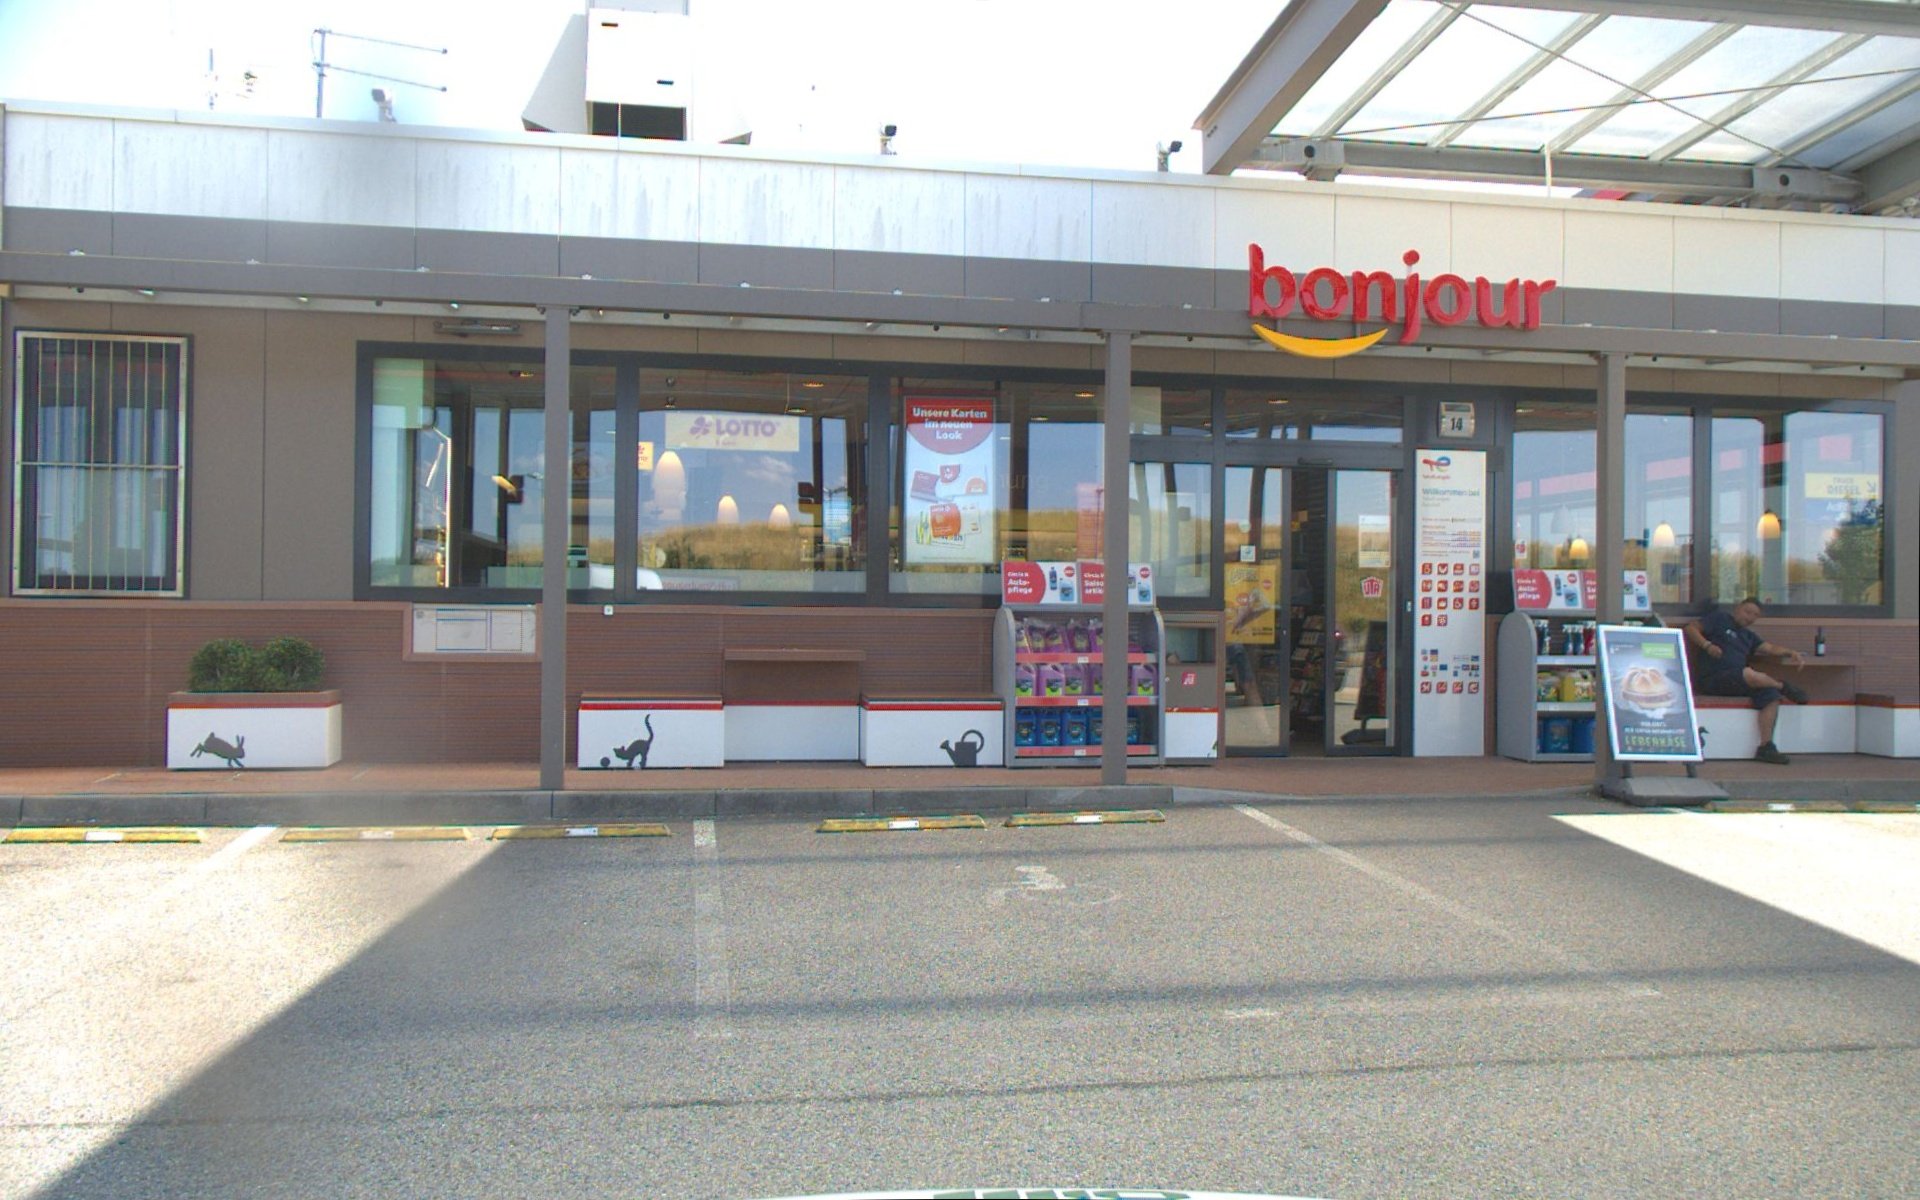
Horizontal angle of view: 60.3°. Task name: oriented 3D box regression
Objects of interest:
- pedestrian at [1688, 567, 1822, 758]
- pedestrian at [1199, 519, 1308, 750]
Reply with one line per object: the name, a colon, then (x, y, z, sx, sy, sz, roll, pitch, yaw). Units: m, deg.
pedestrian: (6.252, 0.478, 13.026, 0.688, 1.457, 0.671, 0, 0, -11)
pedestrian: (2.397, 0.273, 13.577, 0.687, 1.829, 0.862, 0, 0, -4)
